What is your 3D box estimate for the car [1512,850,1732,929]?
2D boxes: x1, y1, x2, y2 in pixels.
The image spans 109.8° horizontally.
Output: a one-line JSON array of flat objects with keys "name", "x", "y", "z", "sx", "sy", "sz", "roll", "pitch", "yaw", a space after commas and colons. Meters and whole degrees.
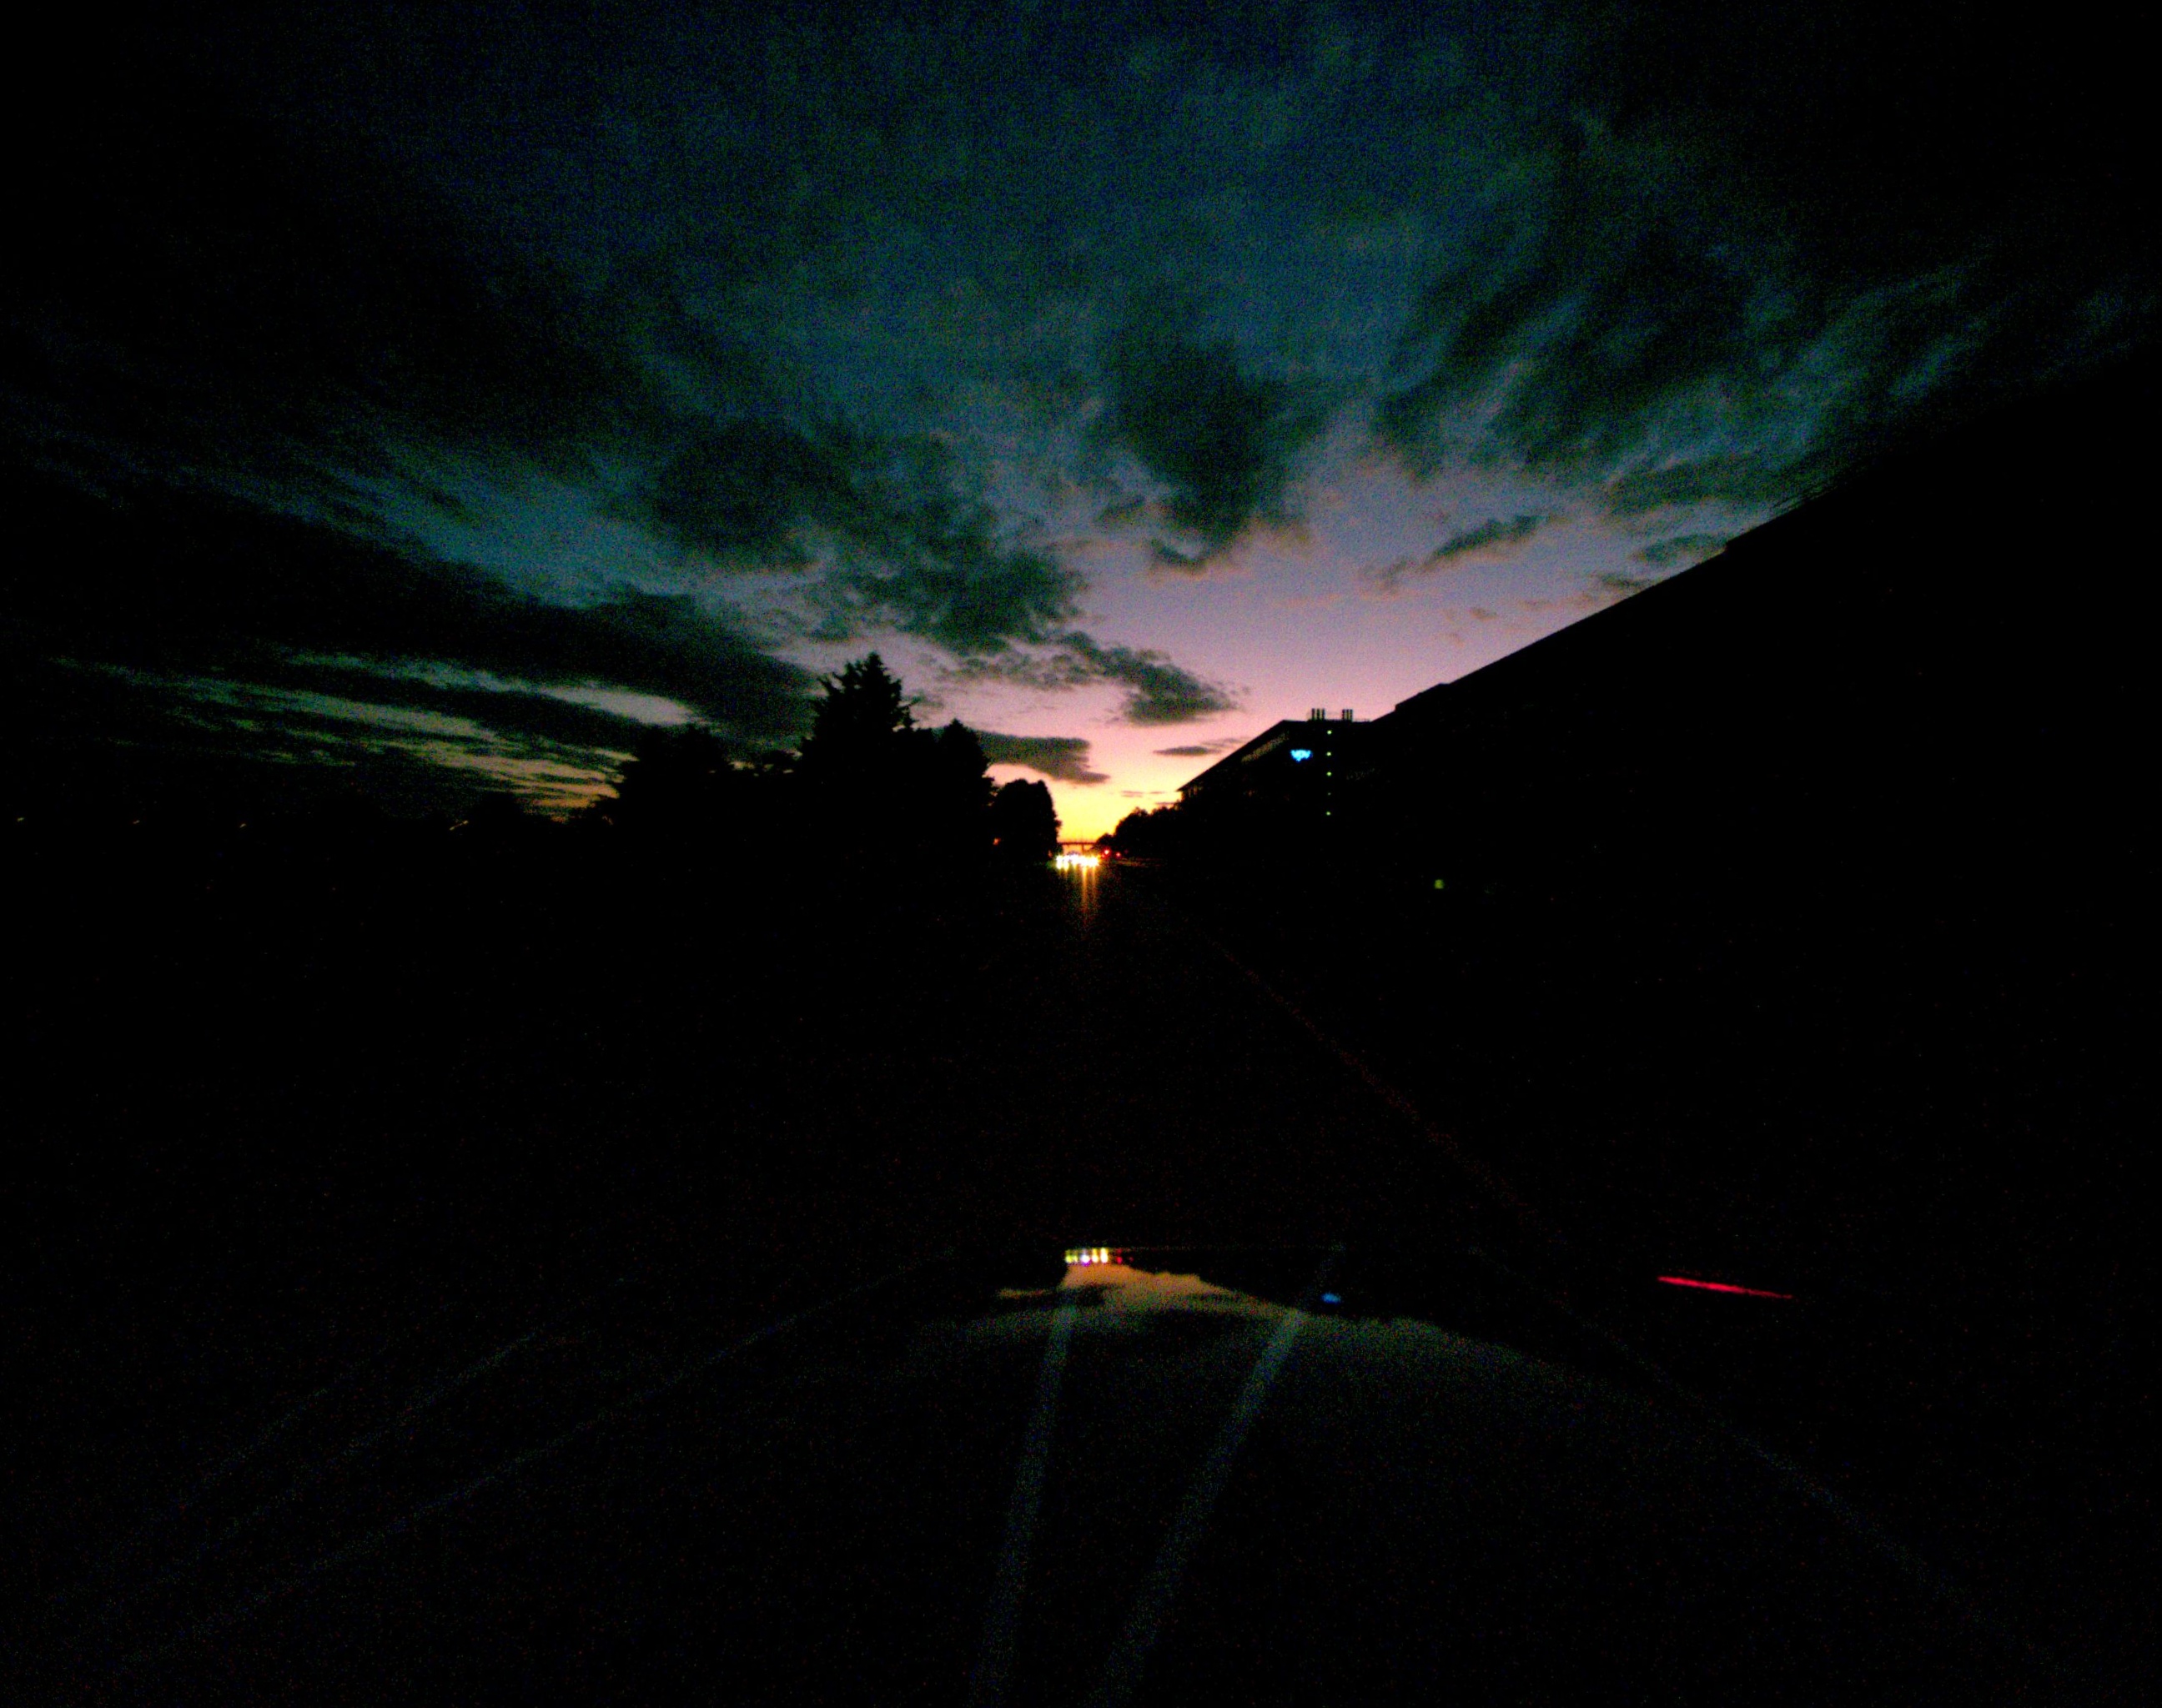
[{"name": "car", "x": 12.530, "y": 0.747, "z": 18.066, "sx": 1.775, "sy": 1.631, "sz": 4.660, "roll": 0, "pitch": 0, "yaw": -2}]

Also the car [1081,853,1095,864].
[{"name": "car", "x": 0.872, "y": 0.550, "z": 97.149, "sx": 1.756, "sy": 1.447, "sz": 3.803, "roll": 0, "pitch": 0, "yaw": 1}]

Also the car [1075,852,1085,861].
[{"name": "car", "x": -0.226, "y": 0.466, "z": 175.904, "sx": 1.861, "sy": 2.002, "sz": 4.002, "roll": -2, "pitch": 0, "yaw": 6}]
